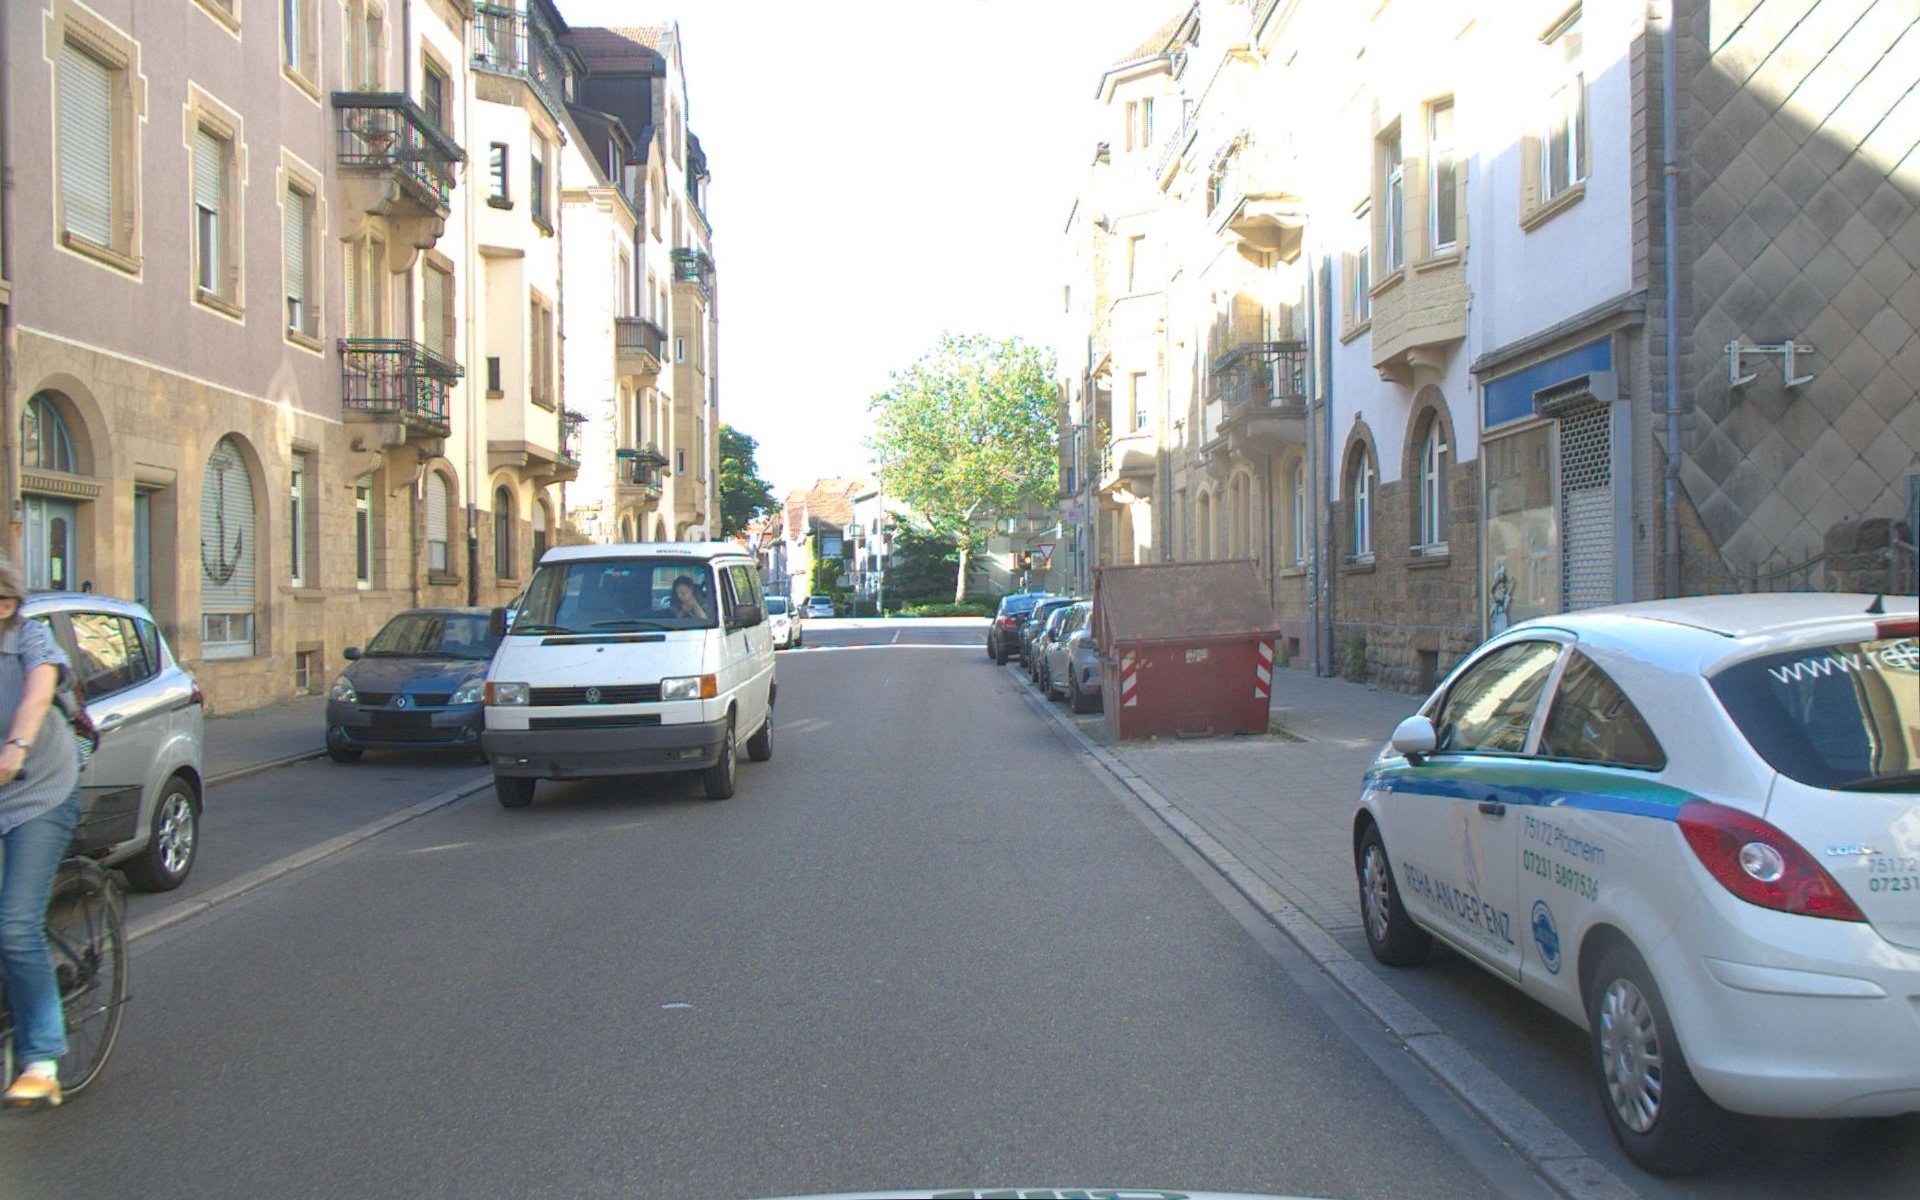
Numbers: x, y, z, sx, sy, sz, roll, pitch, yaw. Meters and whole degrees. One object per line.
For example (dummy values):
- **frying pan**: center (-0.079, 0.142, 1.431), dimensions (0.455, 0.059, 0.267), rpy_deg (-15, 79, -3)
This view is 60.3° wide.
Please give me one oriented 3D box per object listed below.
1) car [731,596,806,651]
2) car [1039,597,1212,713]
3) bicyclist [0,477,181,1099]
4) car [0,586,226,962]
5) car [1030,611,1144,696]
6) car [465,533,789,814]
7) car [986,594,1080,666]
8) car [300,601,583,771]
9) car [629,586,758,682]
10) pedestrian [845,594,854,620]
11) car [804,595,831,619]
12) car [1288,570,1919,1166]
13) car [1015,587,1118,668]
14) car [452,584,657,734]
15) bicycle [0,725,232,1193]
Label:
- **car**: center (-5.419, 0.639, 47.215), dimensions (1.600, 1.489, 3.735), rpy_deg (-1, 0, 1)
- **car**: center (2.213, 0.696, 23.071), dimensions (1.751, 1.455, 3.804), rpy_deg (-1, 0, -4)
- **bicyclist**: center (-2.730, 0.514, 4.829), dimensions (0.595, 1.694, 0.632), rpy_deg (-1, 0, -1)
- **car**: center (-4.856, 0.724, 7.325), dimensions (1.680, 1.565, 3.722), rpy_deg (0, 0, -3)
- **car**: center (2.083, 0.873, 27.993), dimensions (1.658, 1.276, 3.941), rpy_deg (2, -1, 1)
- **car**: center (-2.602, 0.507, 14.049), dimensions (1.825, 1.971, 4.599), rpy_deg (-1, 0, 0)
- **car**: center (1.600, 0.631, 37.704), dimensions (1.828, 1.487, 4.338), rpy_deg (-1, 0, -2)
- **car**: center (-5.020, 0.768, 16.512), dimensions (1.638, 1.417, 3.666), rpy_deg (2, 0, -1)
- **car**: center (-5.394, 0.634, 34.066), dimensions (1.853, 1.752, 4.725), rpy_deg (2, 0, -1)
- **pedestrian**: center (-7.720, 0.494, 115.821), dimensions (0.620, 1.780, 0.658), rpy_deg (0, -1, -4)
- **car**: center (-9.339, 0.462, 108.497), dimensions (1.642, 1.509, 3.516), rpy_deg (0, -1, -7)
- **car**: center (2.441, 0.661, 6.078), dimensions (1.554, 1.490, 3.710), rpy_deg (-1, 0, -3)
- **car**: center (2.056, 0.505, 32.990), dimensions (1.618, 1.467, 4.257), rpy_deg (-2, 0, -2)
- **car**: center (-4.929, 0.651, 20.635), dimensions (1.680, 1.611, 4.018), rpy_deg (2, 0, -3)
- **bicycle**: center (-2.738, 0.979, 4.698), dimensions (0.529, 1.095, 1.800), rpy_deg (-1, 0, 0)
